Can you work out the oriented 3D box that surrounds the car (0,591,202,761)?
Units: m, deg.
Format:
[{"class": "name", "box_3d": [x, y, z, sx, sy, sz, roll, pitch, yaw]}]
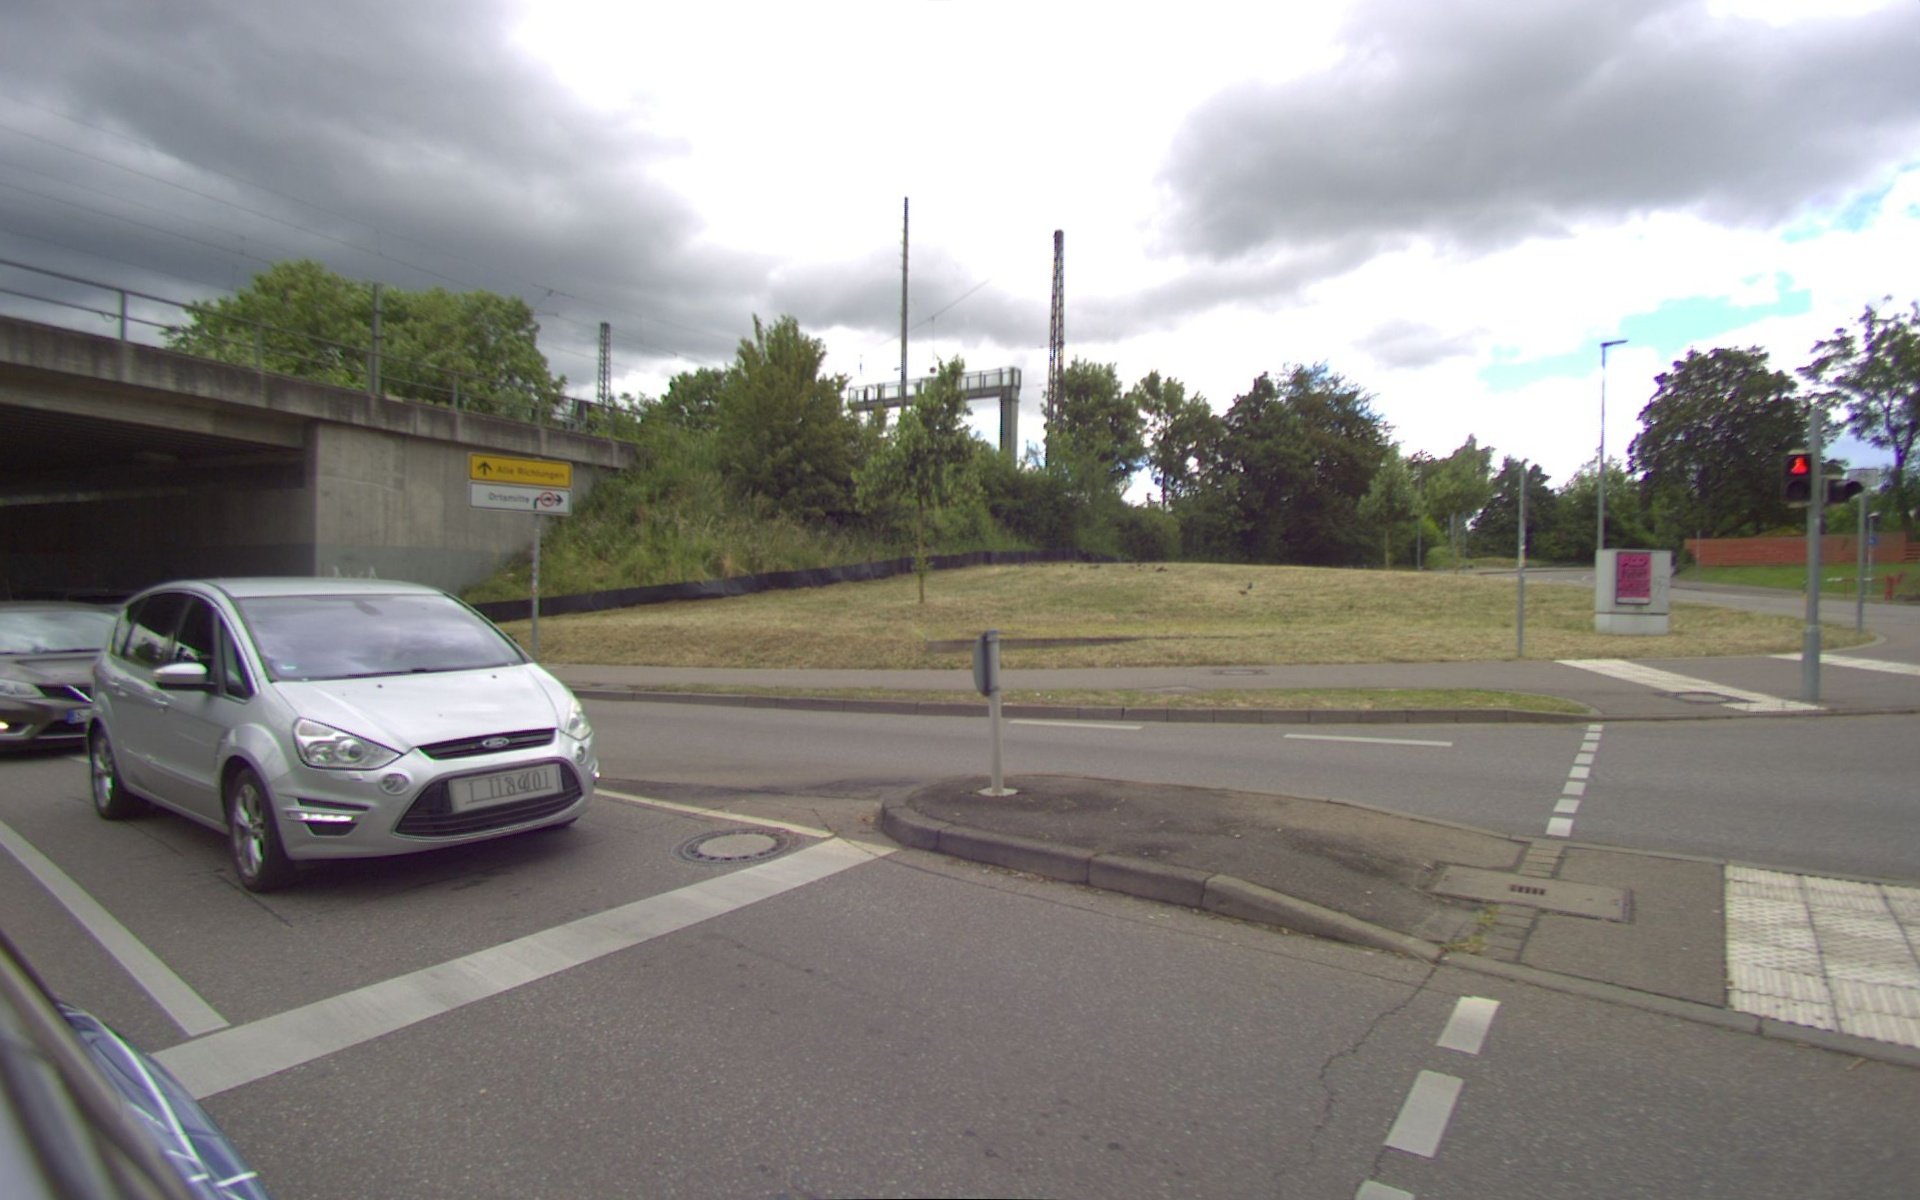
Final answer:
[{"class": "car", "box_3d": [-10.114, 0.716, 11.026, 4.244, 1.545, 1.739, -1, 0, 35]}]

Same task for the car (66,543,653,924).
[{"class": "car", "box_3d": [-4.078, 0.596, 6.526, 4.507, 1.651, 1.807, -1, 0, 39]}]

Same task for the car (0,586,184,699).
[{"class": "car", "box_3d": [-15.850, 0.703, 18.116, 3.990, 1.804, 1.943, -1, 0, 34]}]
